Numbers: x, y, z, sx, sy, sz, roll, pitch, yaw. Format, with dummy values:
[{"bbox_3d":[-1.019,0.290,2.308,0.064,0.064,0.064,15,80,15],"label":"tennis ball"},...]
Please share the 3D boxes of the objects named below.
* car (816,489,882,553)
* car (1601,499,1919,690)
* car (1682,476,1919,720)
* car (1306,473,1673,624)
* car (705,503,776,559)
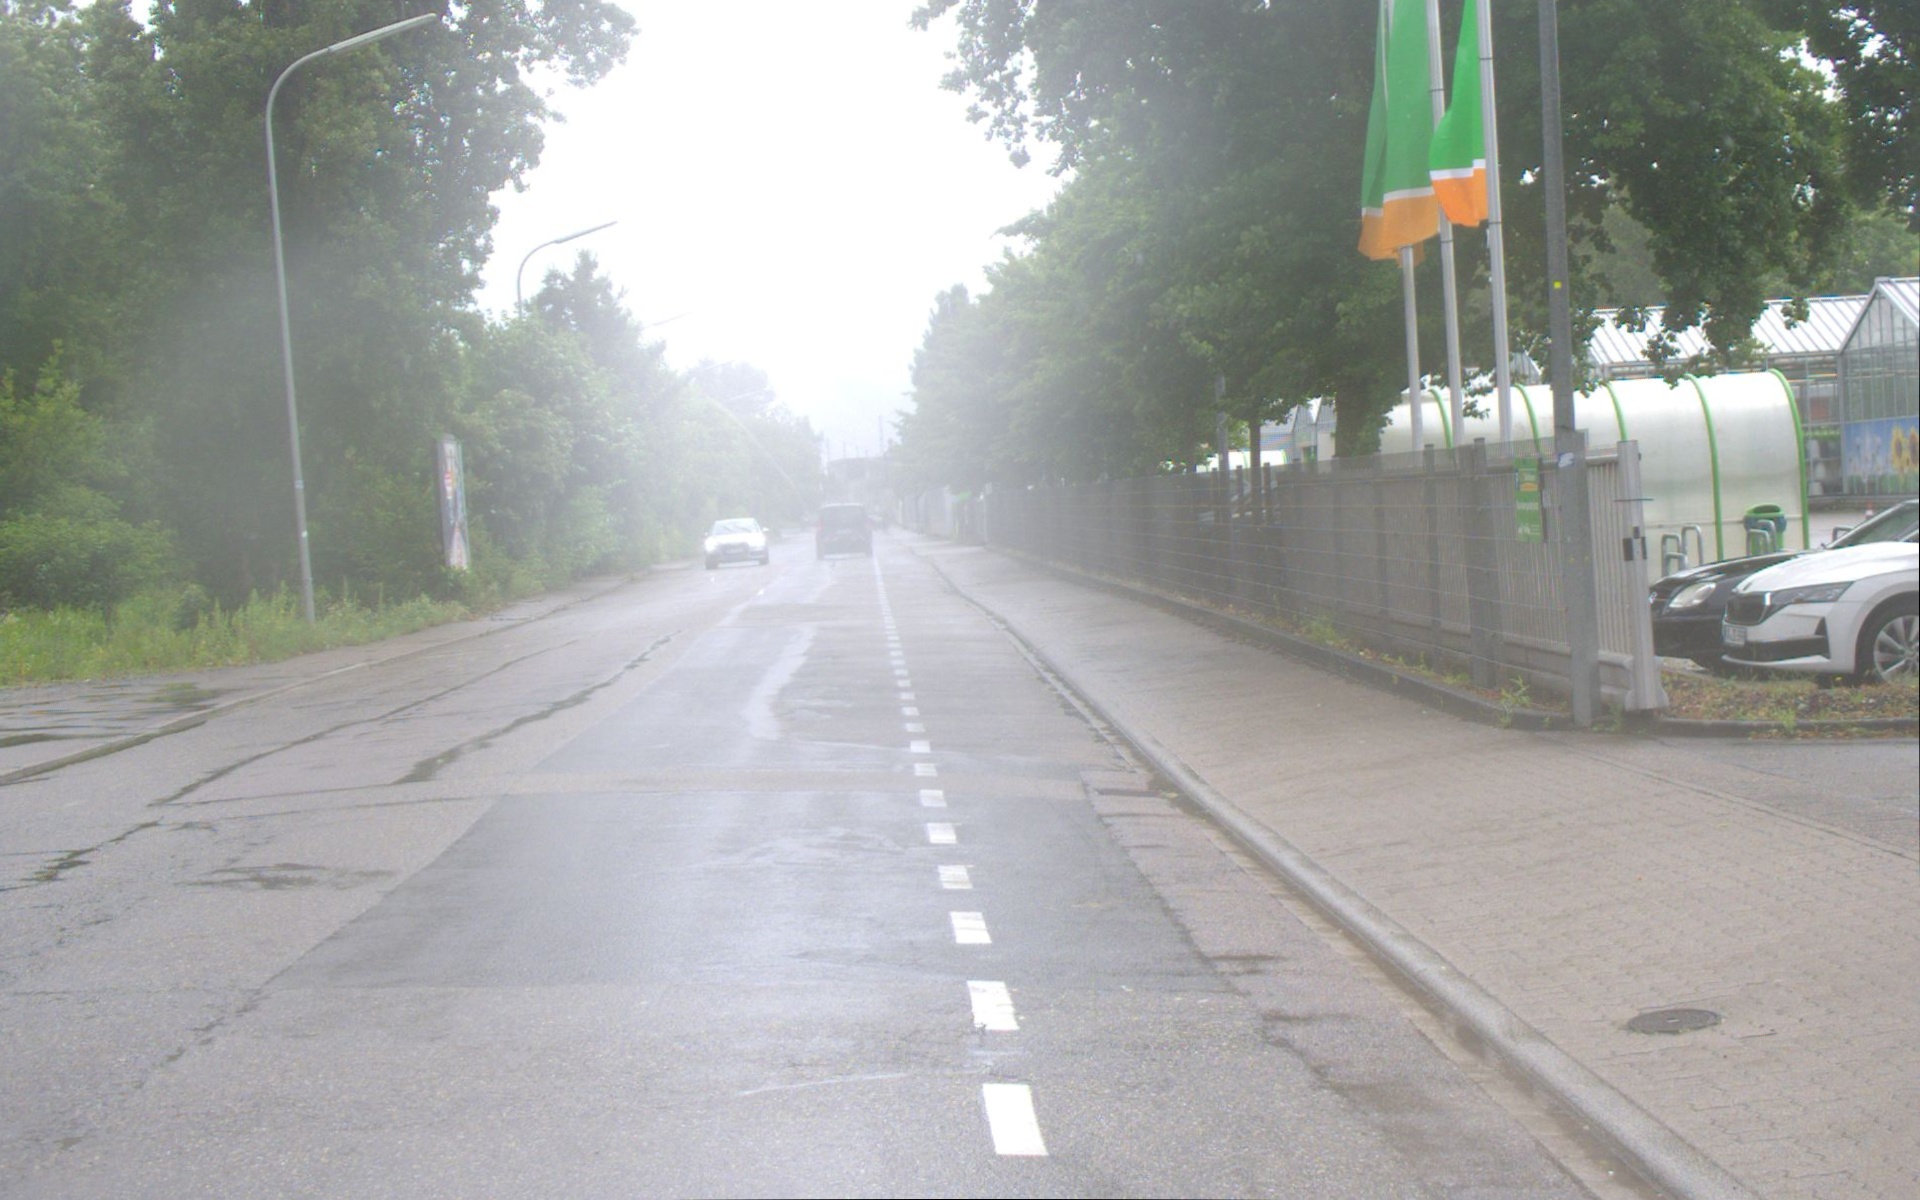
[{"bbox_3d":[-3.612,-2.555,111.800,1.993,1.904,4.201,-4,1,-2],"label":"car"},{"bbox_3d":[6.815,-0.096,24.974,3.938,1.252,1.619,-3,1,-2],"label":"car"},{"bbox_3d":[7.291,-0.125,22.346,4.702,1.457,1.891,-3,2,-2],"label":"car"},{"bbox_3d":[6.627,-0.662,43.301,4.208,1.595,1.824,-4,2,-2],"label":"car"},{"bbox_3d":[-6.512,-2.061,102.282,1.733,1.445,4.381,-6,2,0],"label":"car"}]
